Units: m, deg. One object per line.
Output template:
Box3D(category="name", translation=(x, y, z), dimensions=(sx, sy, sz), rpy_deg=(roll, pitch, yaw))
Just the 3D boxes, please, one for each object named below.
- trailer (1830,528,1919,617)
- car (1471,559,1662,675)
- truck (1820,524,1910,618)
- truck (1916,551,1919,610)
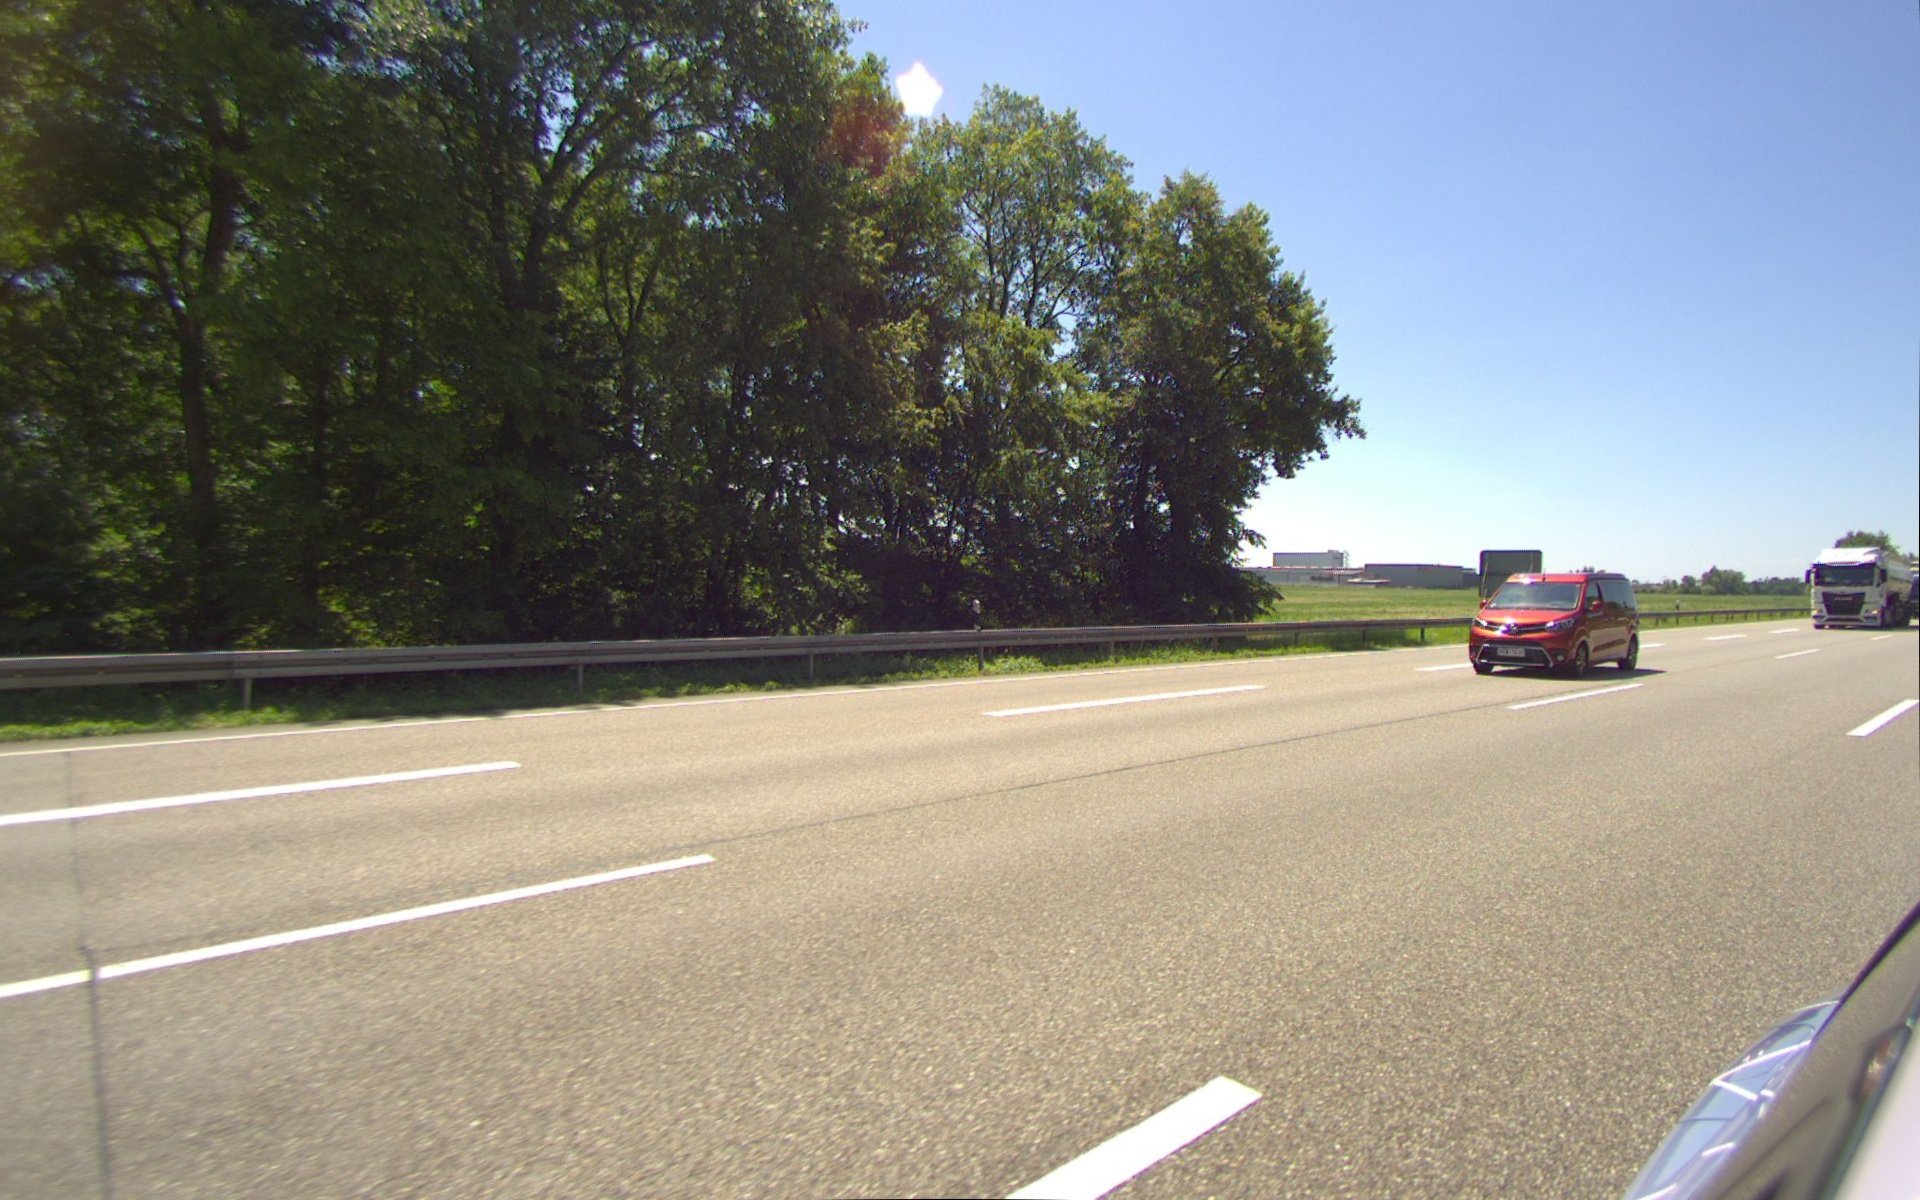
Box3D(category="trailer", translation=(48.871, -1.386, 53.681), dimensions=(12.144, 4.257, 2.794), rpy_deg=(0, 1, -43))
Box3D(category="car", translation=(12.297, 0.276, 20.325), dimensions=(5.428, 2.028, 1.858), rpy_deg=(0, 0, -43))
Box3D(category="truck", translation=(43.459, -1.367, 48.582), dimensions=(4.917, 4.257, 2.793), rpy_deg=(0, 1, -44))
Box3D(category="truck", translation=(73.011, -1.377, 74.723), dimensions=(10.624, 4.257, 2.794), rpy_deg=(0, 1, -43))
